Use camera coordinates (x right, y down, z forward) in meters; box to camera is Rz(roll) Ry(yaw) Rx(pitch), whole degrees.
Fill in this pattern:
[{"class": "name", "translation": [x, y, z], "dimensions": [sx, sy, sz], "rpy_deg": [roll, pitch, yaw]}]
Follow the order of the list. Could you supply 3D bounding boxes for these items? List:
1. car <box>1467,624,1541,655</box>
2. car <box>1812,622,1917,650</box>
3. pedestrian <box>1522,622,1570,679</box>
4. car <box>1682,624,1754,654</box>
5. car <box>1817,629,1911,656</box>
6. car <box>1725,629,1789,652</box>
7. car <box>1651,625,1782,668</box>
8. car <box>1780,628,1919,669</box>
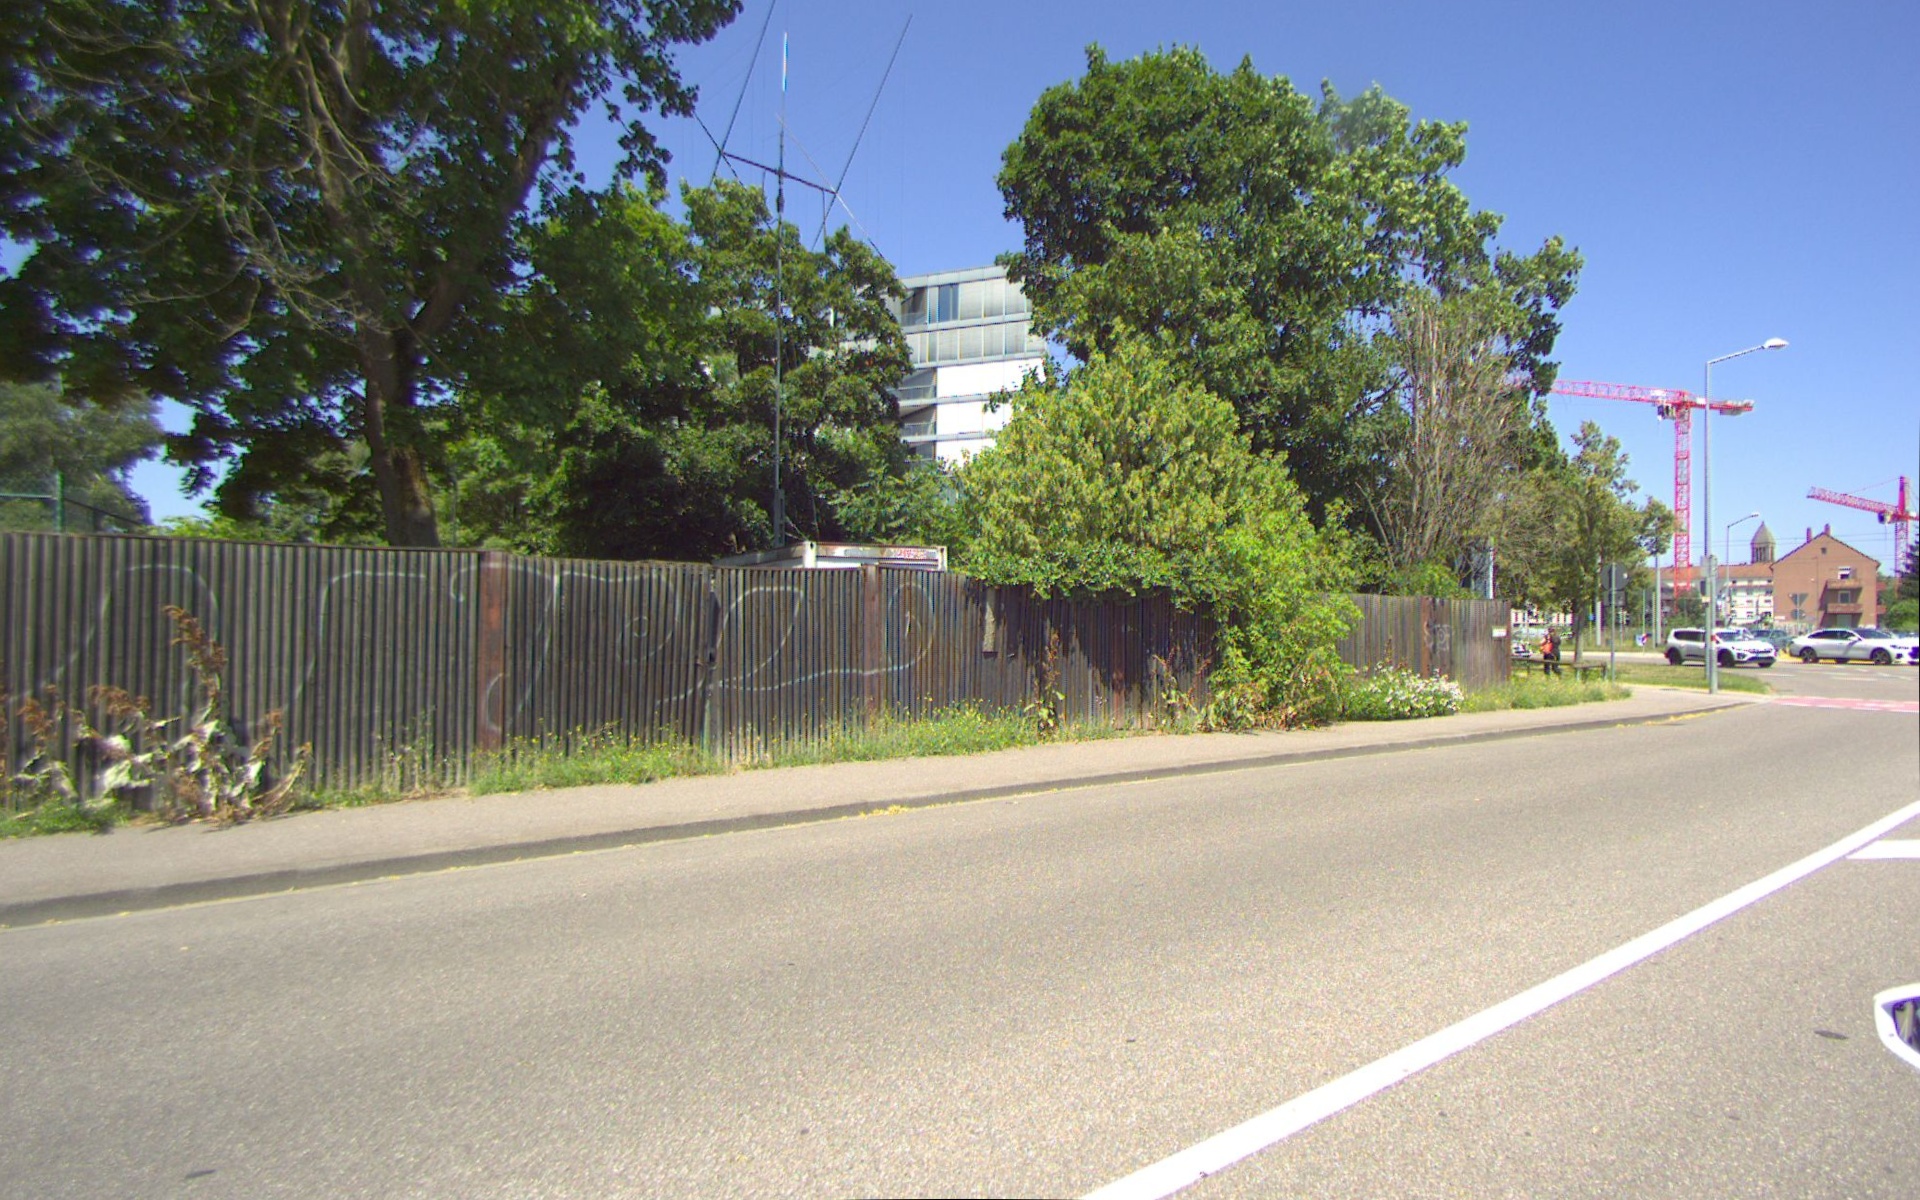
[{"class": "car", "translation": [31.272, 2.232, 57.857], "dimensions": [1.649, 1.641, 4.006], "rpy_deg": [1, -1, -8]}, {"class": "car", "translation": [59.855, 2.354, 66.550], "dimensions": [4.832, 1.810, 2.028], "rpy_deg": [0, -2, 10]}, {"class": "pedestrian", "translation": [16.635, 1.432, 28.553], "dimensions": [0.796, 1.584, 0.876], "rpy_deg": [1, 0, -7]}, {"class": "car", "translation": [41.412, 2.127, 54.860], "dimensions": [3.953, 1.570, 1.748], "rpy_deg": [1, -1, -30]}, {"class": "car", "translation": [55.948, 2.598, 62.223], "dimensions": [4.136, 1.520, 1.713], "rpy_deg": [1, 0, 3]}, {"class": "car", "translation": [46.620, 2.344, 58.764], "dimensions": [3.742, 1.253, 1.699], "rpy_deg": [1, -1, -30]}, {"class": "car", "translation": [31.646, 1.898, 42.216], "dimensions": [1.961, 1.587, 4.589], "rpy_deg": [1, -1, -1]}, {"class": "car", "translation": [37.743, 2.007, 42.276], "dimensions": [1.964, 1.529, 4.999], "rpy_deg": [1, -1, -9]}]
